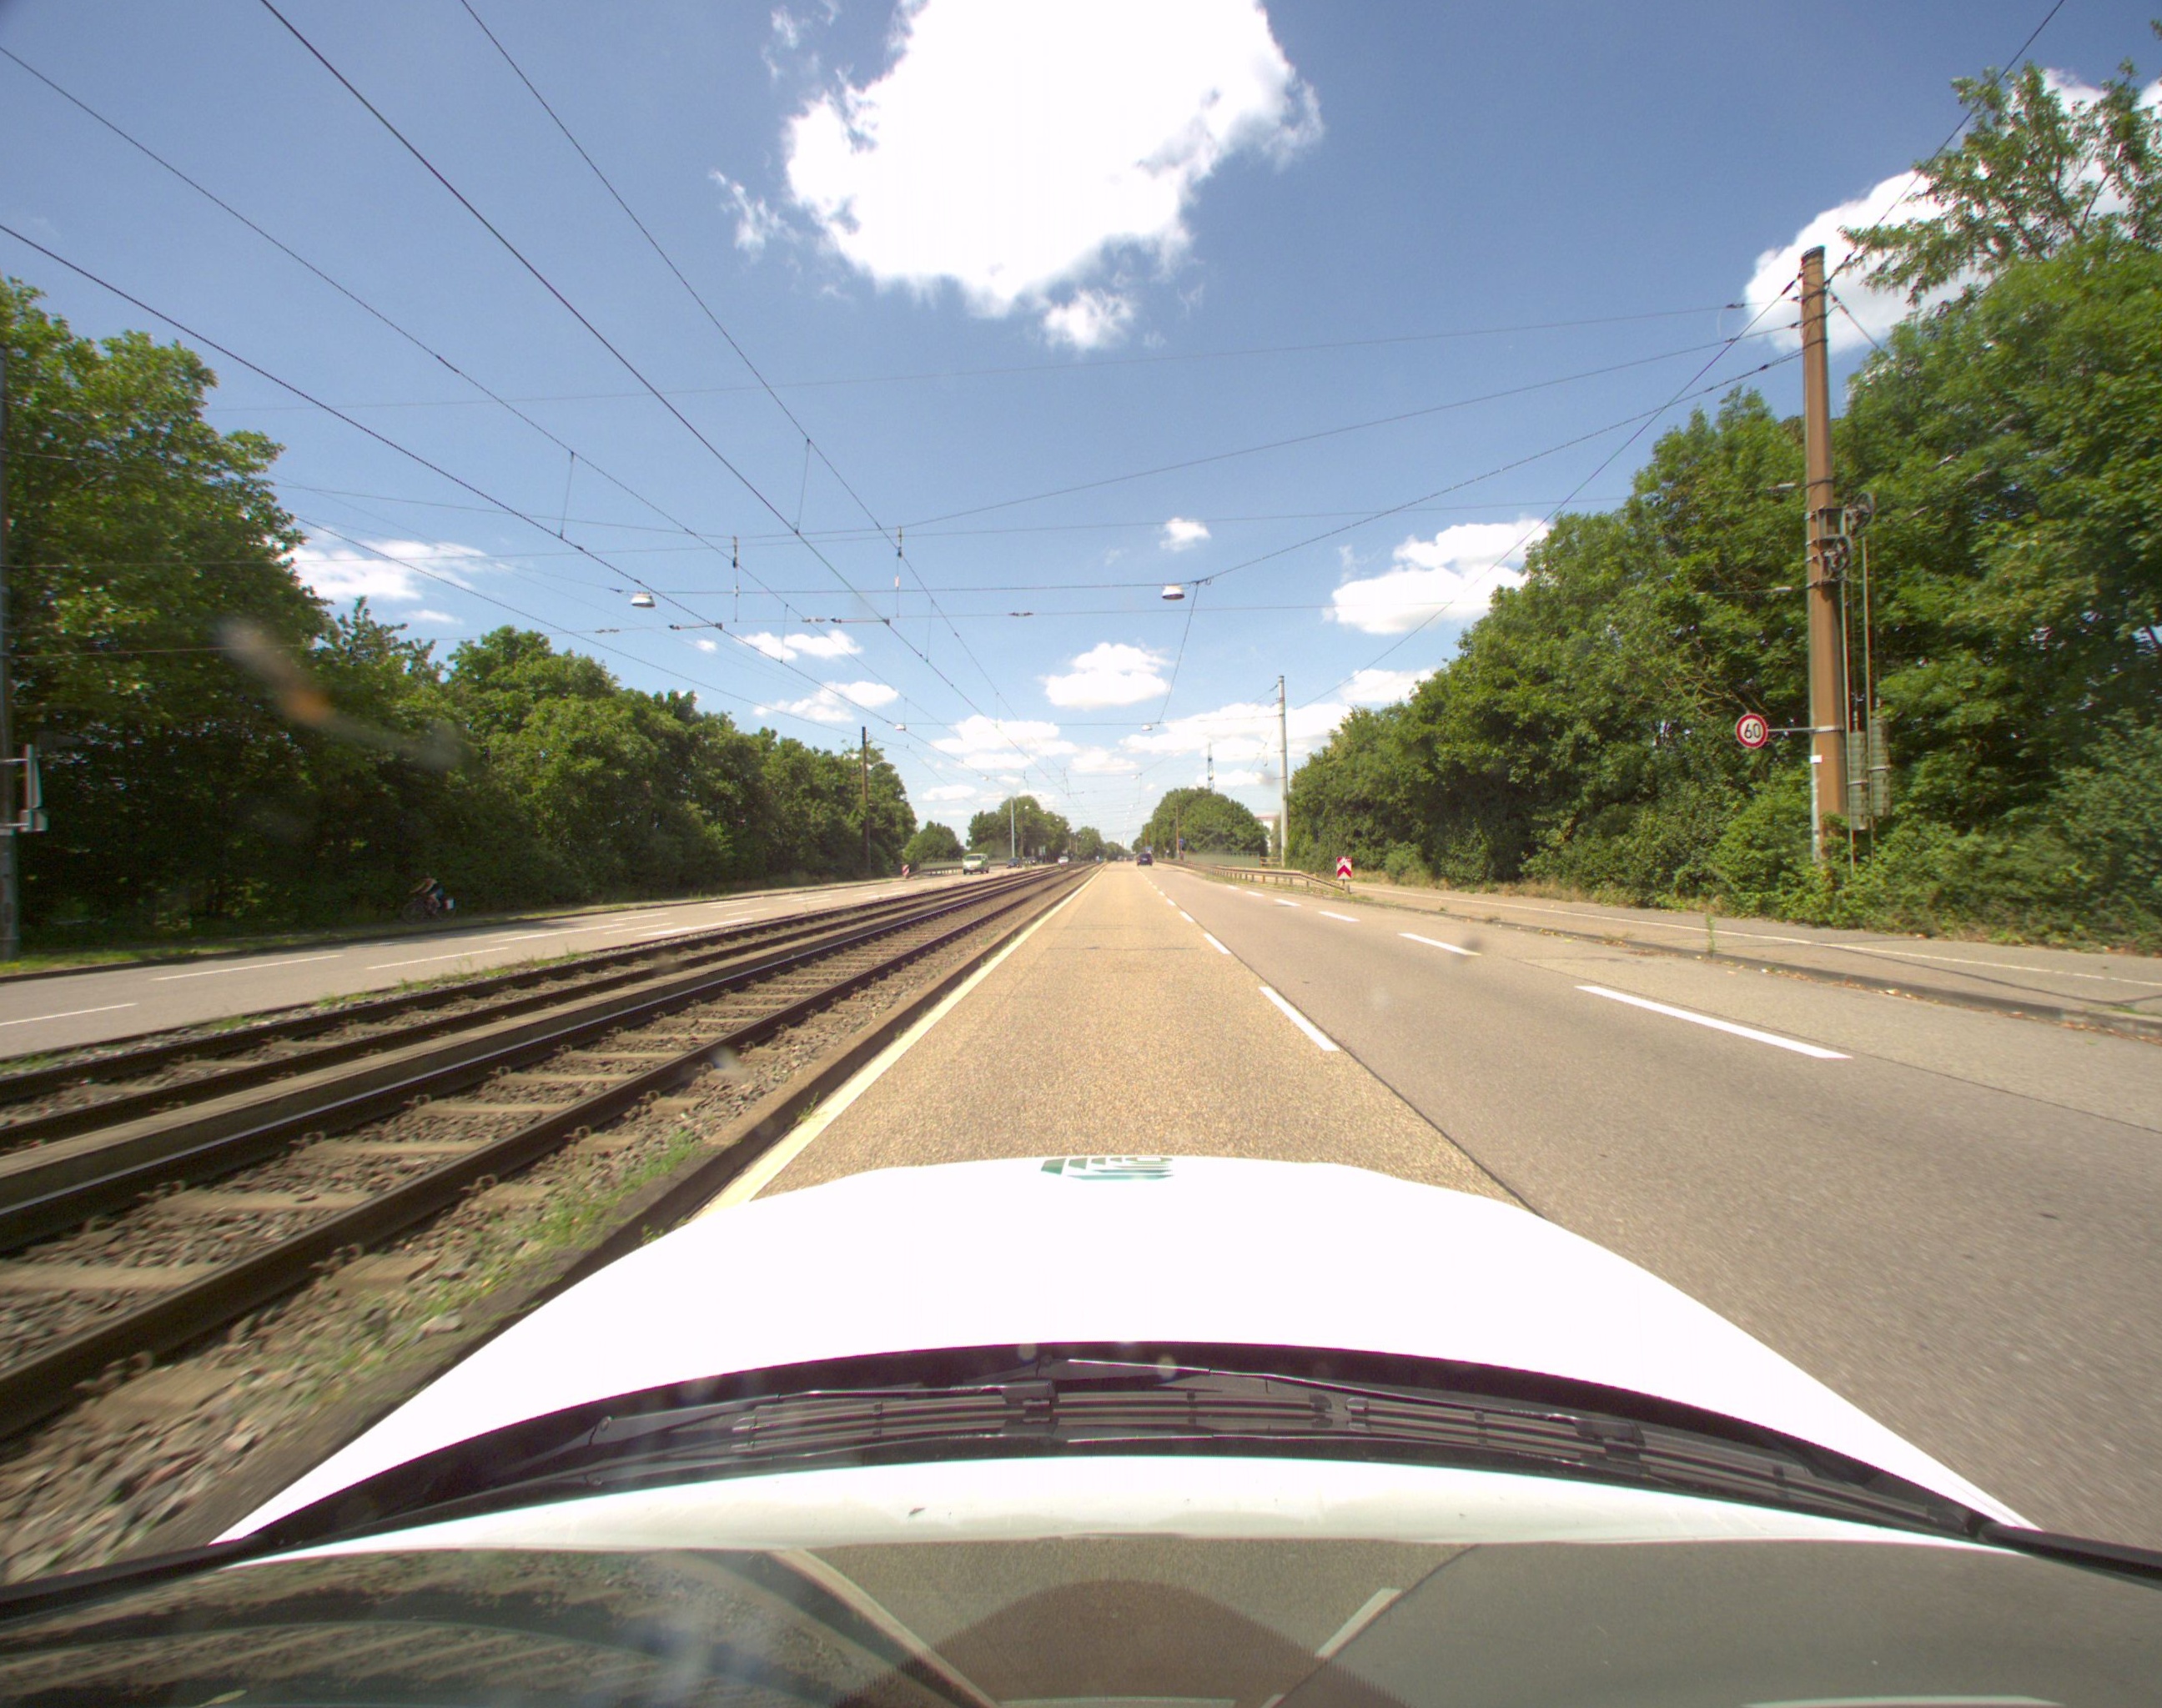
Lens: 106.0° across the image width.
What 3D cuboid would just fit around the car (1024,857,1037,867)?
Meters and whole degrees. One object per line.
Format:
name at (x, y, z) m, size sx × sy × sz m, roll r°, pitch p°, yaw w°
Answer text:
car at (-7.774, 1.218, 126.039) m, size 1.568 × 1.400 × 3.940 m, roll -2°, pitch -1°, yaw 2°

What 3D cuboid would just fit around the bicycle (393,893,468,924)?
bicycle at (-20.822, 1.734, 26.141) m, size 0.583 × 0.819 × 2.071 m, roll -2°, pitch -1°, yaw 5°

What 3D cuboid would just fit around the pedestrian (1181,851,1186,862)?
pedestrian at (13.784, 0.345, 109.305) m, size 0.625 × 1.374 × 1.051 m, roll -2°, pitch -1°, yaw 3°

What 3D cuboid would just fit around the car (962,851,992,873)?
car at (-9.710, 0.780, 76.534) m, size 1.804 × 1.925 × 5.183 m, roll -2°, pitch -1°, yaw 3°

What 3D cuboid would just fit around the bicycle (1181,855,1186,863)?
bicycle at (13.780, 0.695, 109.326) m, size 0.557 × 1.024 × 1.849 m, roll -2°, pitch -1°, yaw 3°

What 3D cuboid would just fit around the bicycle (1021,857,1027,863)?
bicycle at (-10.584, 1.153, 151.966) m, size 0.853 × 1.185 × 2.063 m, roll 0°, pitch -1°, yaw 2°

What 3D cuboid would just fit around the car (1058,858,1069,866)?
car at (-3.217, 1.417, 149.367) m, size 1.704 × 1.420 × 4.627 m, roll -2°, pitch -1°, yaw 3°

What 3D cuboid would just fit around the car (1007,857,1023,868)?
car at (-8.670, 1.137, 106.682) m, size 1.556 × 1.347 × 3.932 m, roll -2°, pitch -1°, yaw 3°

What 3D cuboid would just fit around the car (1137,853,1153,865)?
car at (7.524, 0.573, 95.982) m, size 1.580 × 1.343 × 3.273 m, roll -2°, pitch 0°, yaw 1°

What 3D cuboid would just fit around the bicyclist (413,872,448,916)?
bicyclist at (-20.835, 1.276, 26.085) m, size 0.566 × 1.368 × 0.632 m, roll 0°, pitch -1°, yaw 4°

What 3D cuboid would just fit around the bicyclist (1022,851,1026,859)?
bicyclist at (-10.647, 0.196, 151.969) m, size 0.760 × 1.622 × 0.838 m, roll 0°, pitch -1°, yaw 2°
